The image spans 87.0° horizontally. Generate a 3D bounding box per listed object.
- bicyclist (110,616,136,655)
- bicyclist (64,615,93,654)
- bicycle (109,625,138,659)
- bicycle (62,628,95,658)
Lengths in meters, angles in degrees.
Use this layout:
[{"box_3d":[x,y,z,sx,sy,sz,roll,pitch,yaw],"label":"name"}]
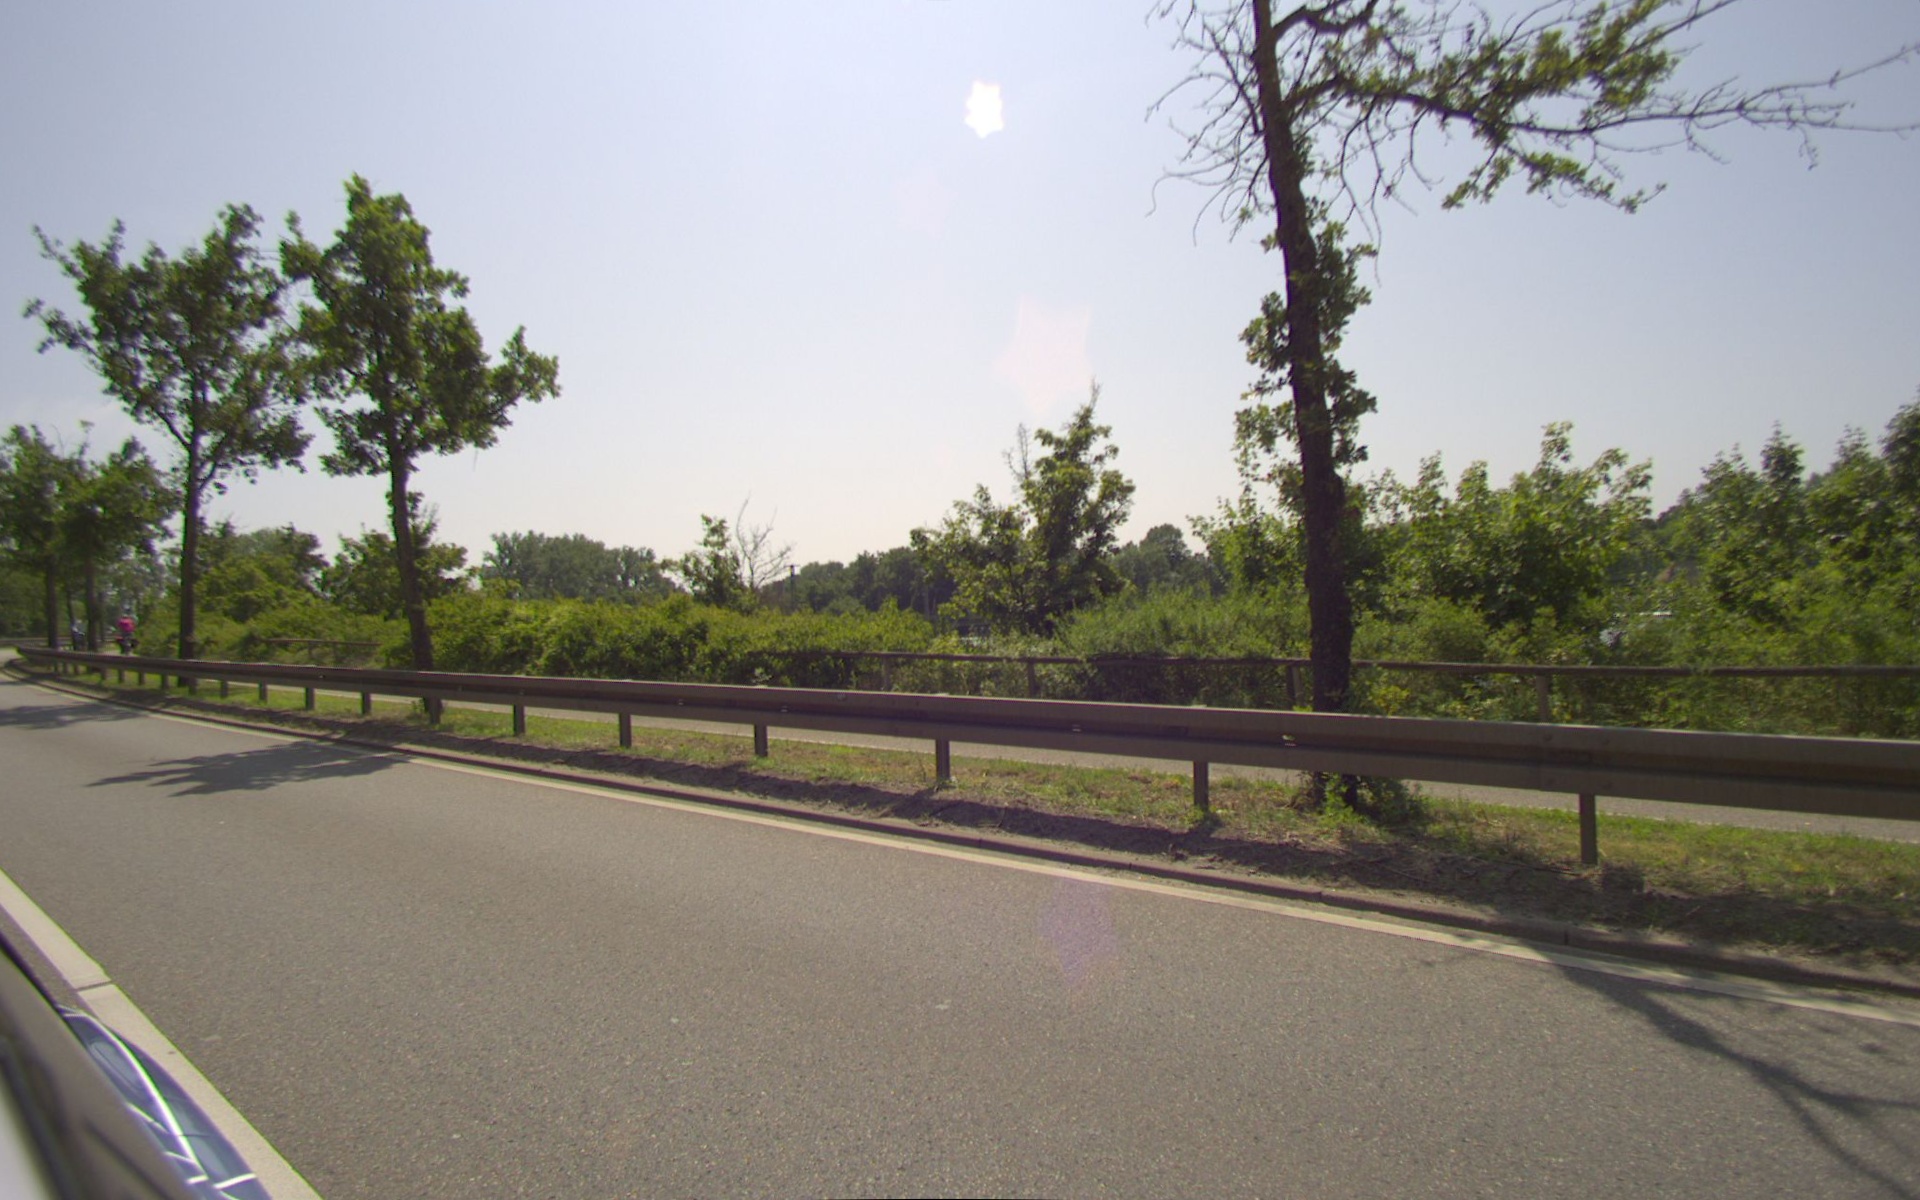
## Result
[{"box_3d":[-32.745,1.382,39.591,0.733,1.500,0.757,0,-1,-45],"label":"bicyclist"},{"box_3d":[-34.088,1.332,39.126,0.824,1.477,0.721,-1,-3,44],"label":"bicyclist"},{"box_3d":[-32.770,1.642,39.620,0.725,1.291,2.048,0,-1,-44],"label":"bicycle"},{"box_3d":[-34.116,1.638,39.144,2.046,1.125,0.726,-1,-3,43],"label":"bicycle"}]
